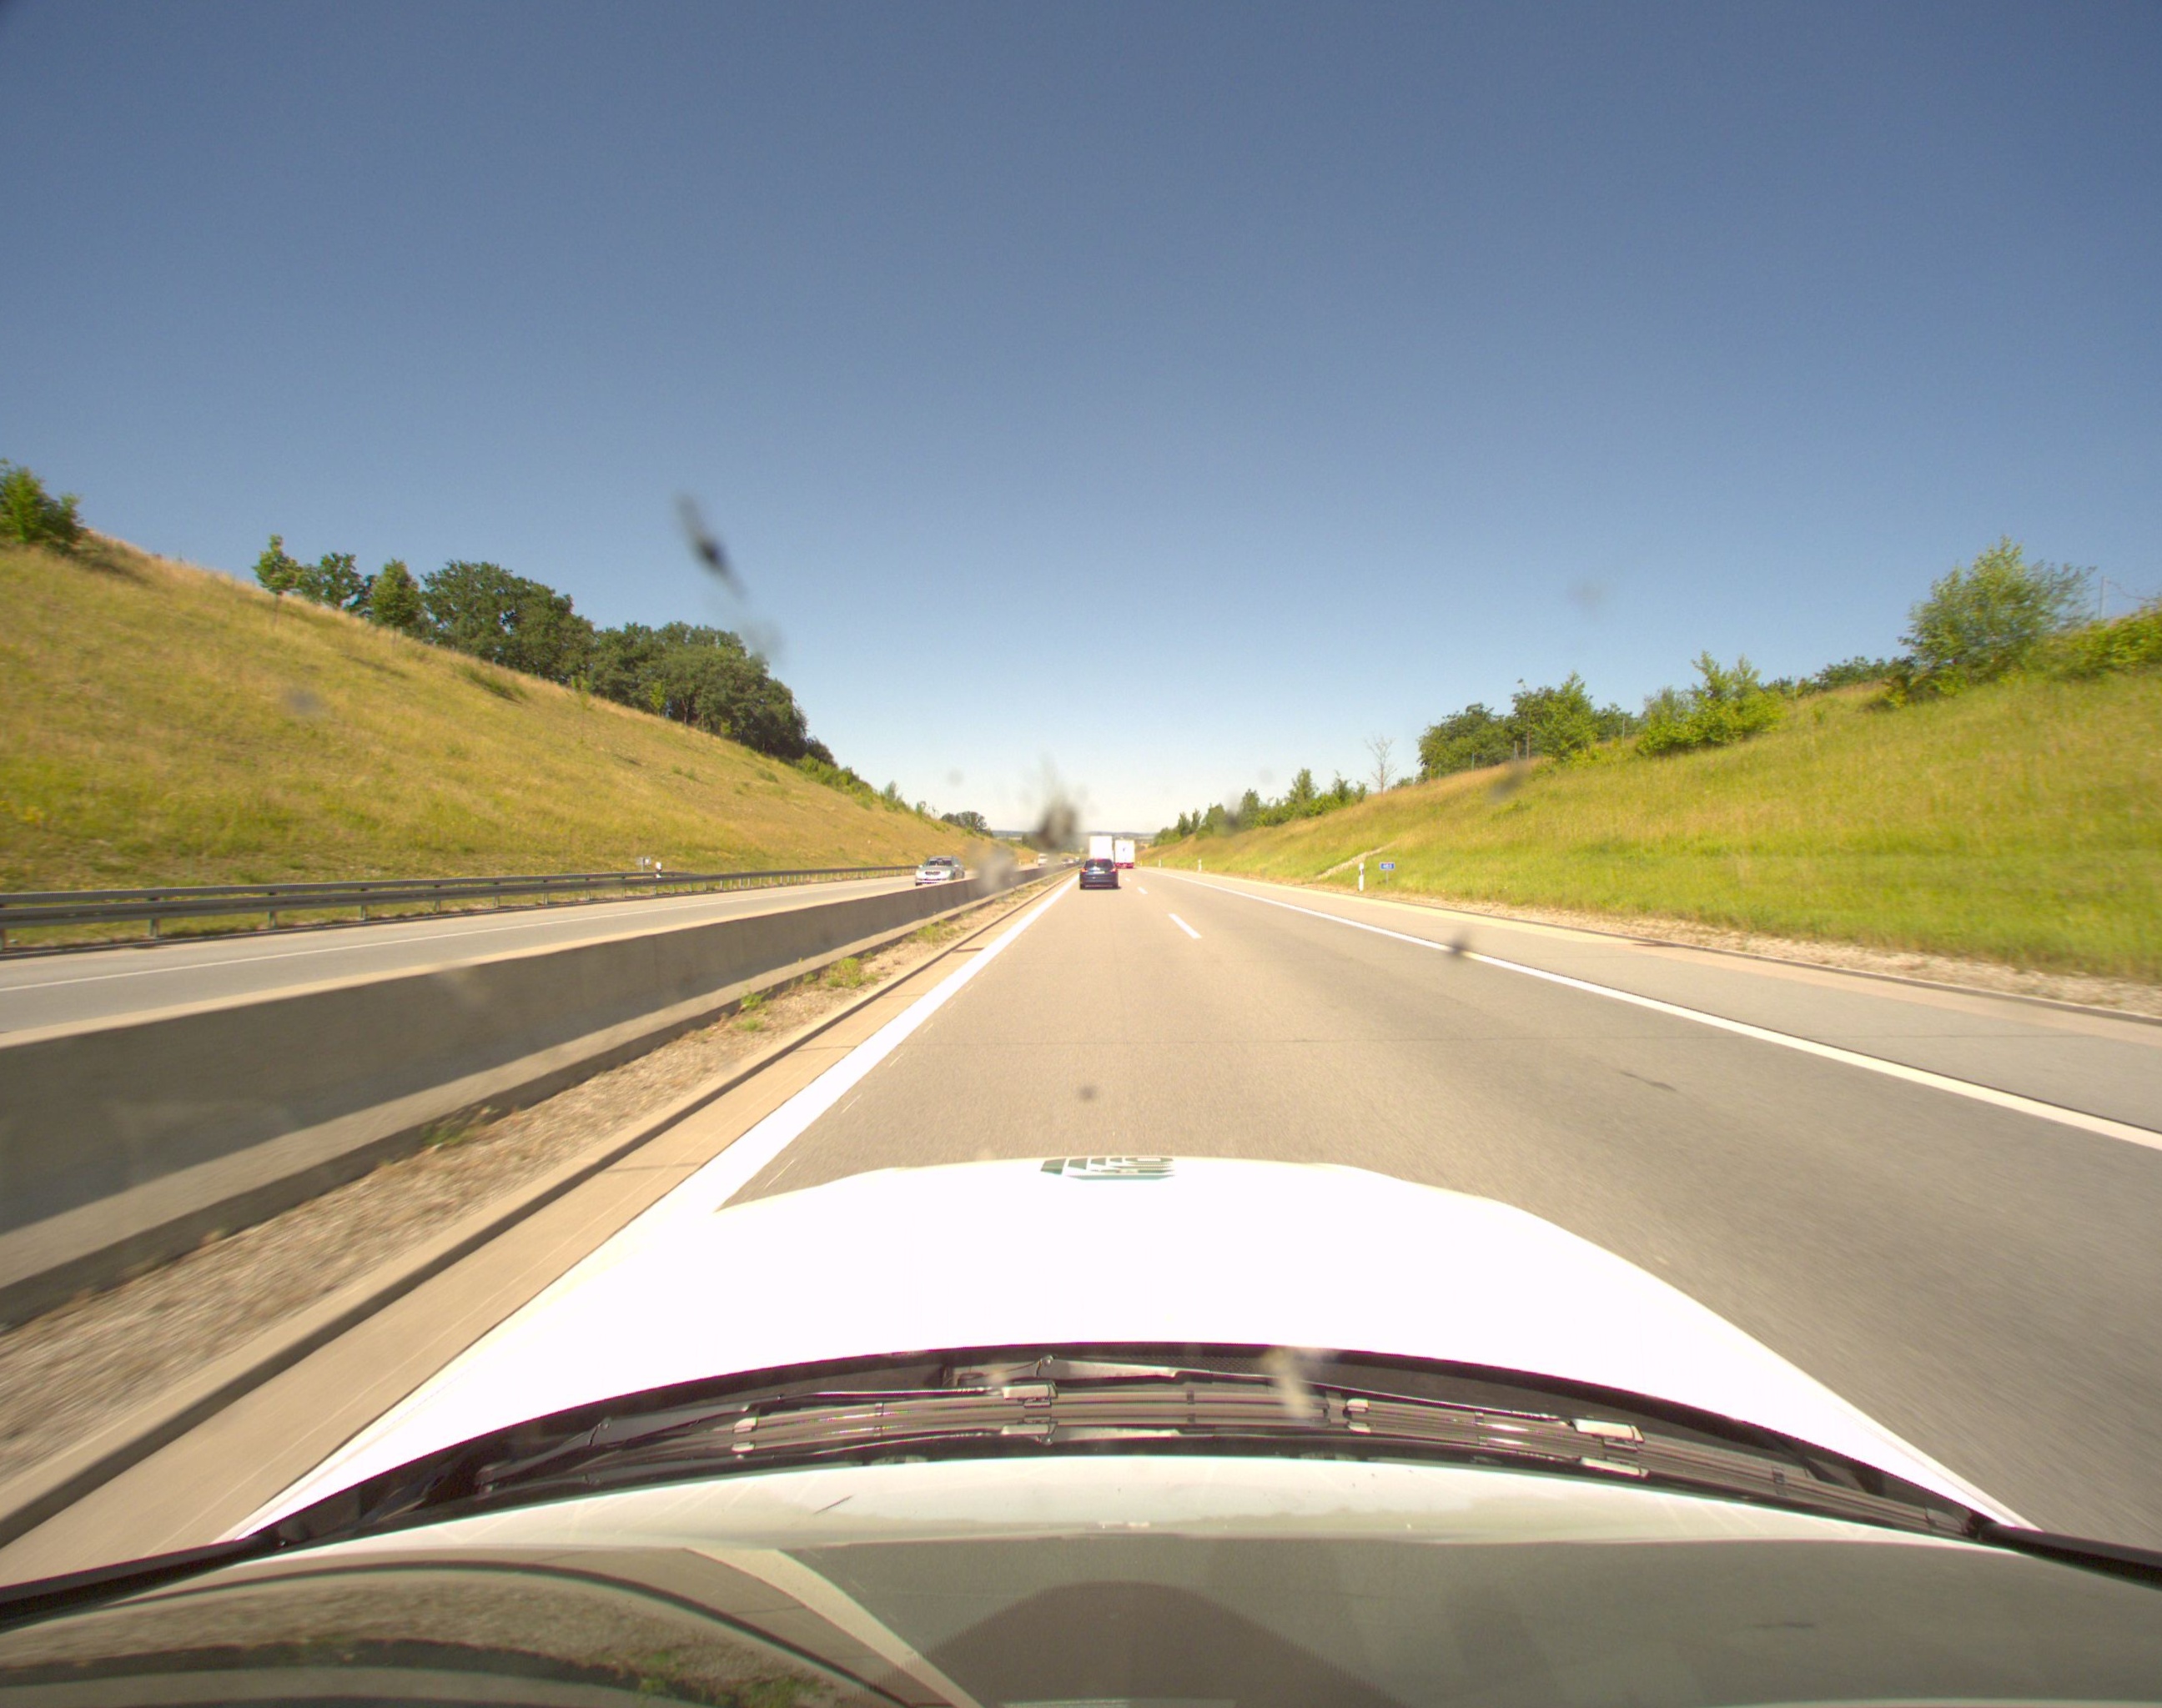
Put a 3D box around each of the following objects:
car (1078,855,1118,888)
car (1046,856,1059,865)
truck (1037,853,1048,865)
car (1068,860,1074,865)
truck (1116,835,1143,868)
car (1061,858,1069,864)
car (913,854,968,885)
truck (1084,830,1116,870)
[{"bbox_3d":[0.742,0.797,38.247,1.771,1.441,3.788,-1,0,0],"label":"car"},{"bbox_3d":[-4.384,0.992,125.239,1.847,1.461,4.768,0,0,0],"label":"car"},{"bbox_3d":[-7.997,0.965,169.048,2.105,2.460,5.950,0,0,0],"label":"truck"},{"bbox_3d":[-3.244,2.753,257.427,1.769,1.601,4.039,0,0,1],"label":"car"},{"bbox_3d":[6.952,-0.325,116.628,3.589,4.381,11.243,0,0,4],"label":"truck"},{"bbox_3d":[-3.833,1.633,196.167,1.847,1.461,4.333,0,0,0],"label":"car"},{"bbox_3d":[-6.870,0.733,40.149,1.847,1.461,4.728,0,0,0],"label":"car"},{"bbox_3d":[2.370,-0.395,95.887,3.196,4.381,11.244,0,0,4],"label":"truck"}]
